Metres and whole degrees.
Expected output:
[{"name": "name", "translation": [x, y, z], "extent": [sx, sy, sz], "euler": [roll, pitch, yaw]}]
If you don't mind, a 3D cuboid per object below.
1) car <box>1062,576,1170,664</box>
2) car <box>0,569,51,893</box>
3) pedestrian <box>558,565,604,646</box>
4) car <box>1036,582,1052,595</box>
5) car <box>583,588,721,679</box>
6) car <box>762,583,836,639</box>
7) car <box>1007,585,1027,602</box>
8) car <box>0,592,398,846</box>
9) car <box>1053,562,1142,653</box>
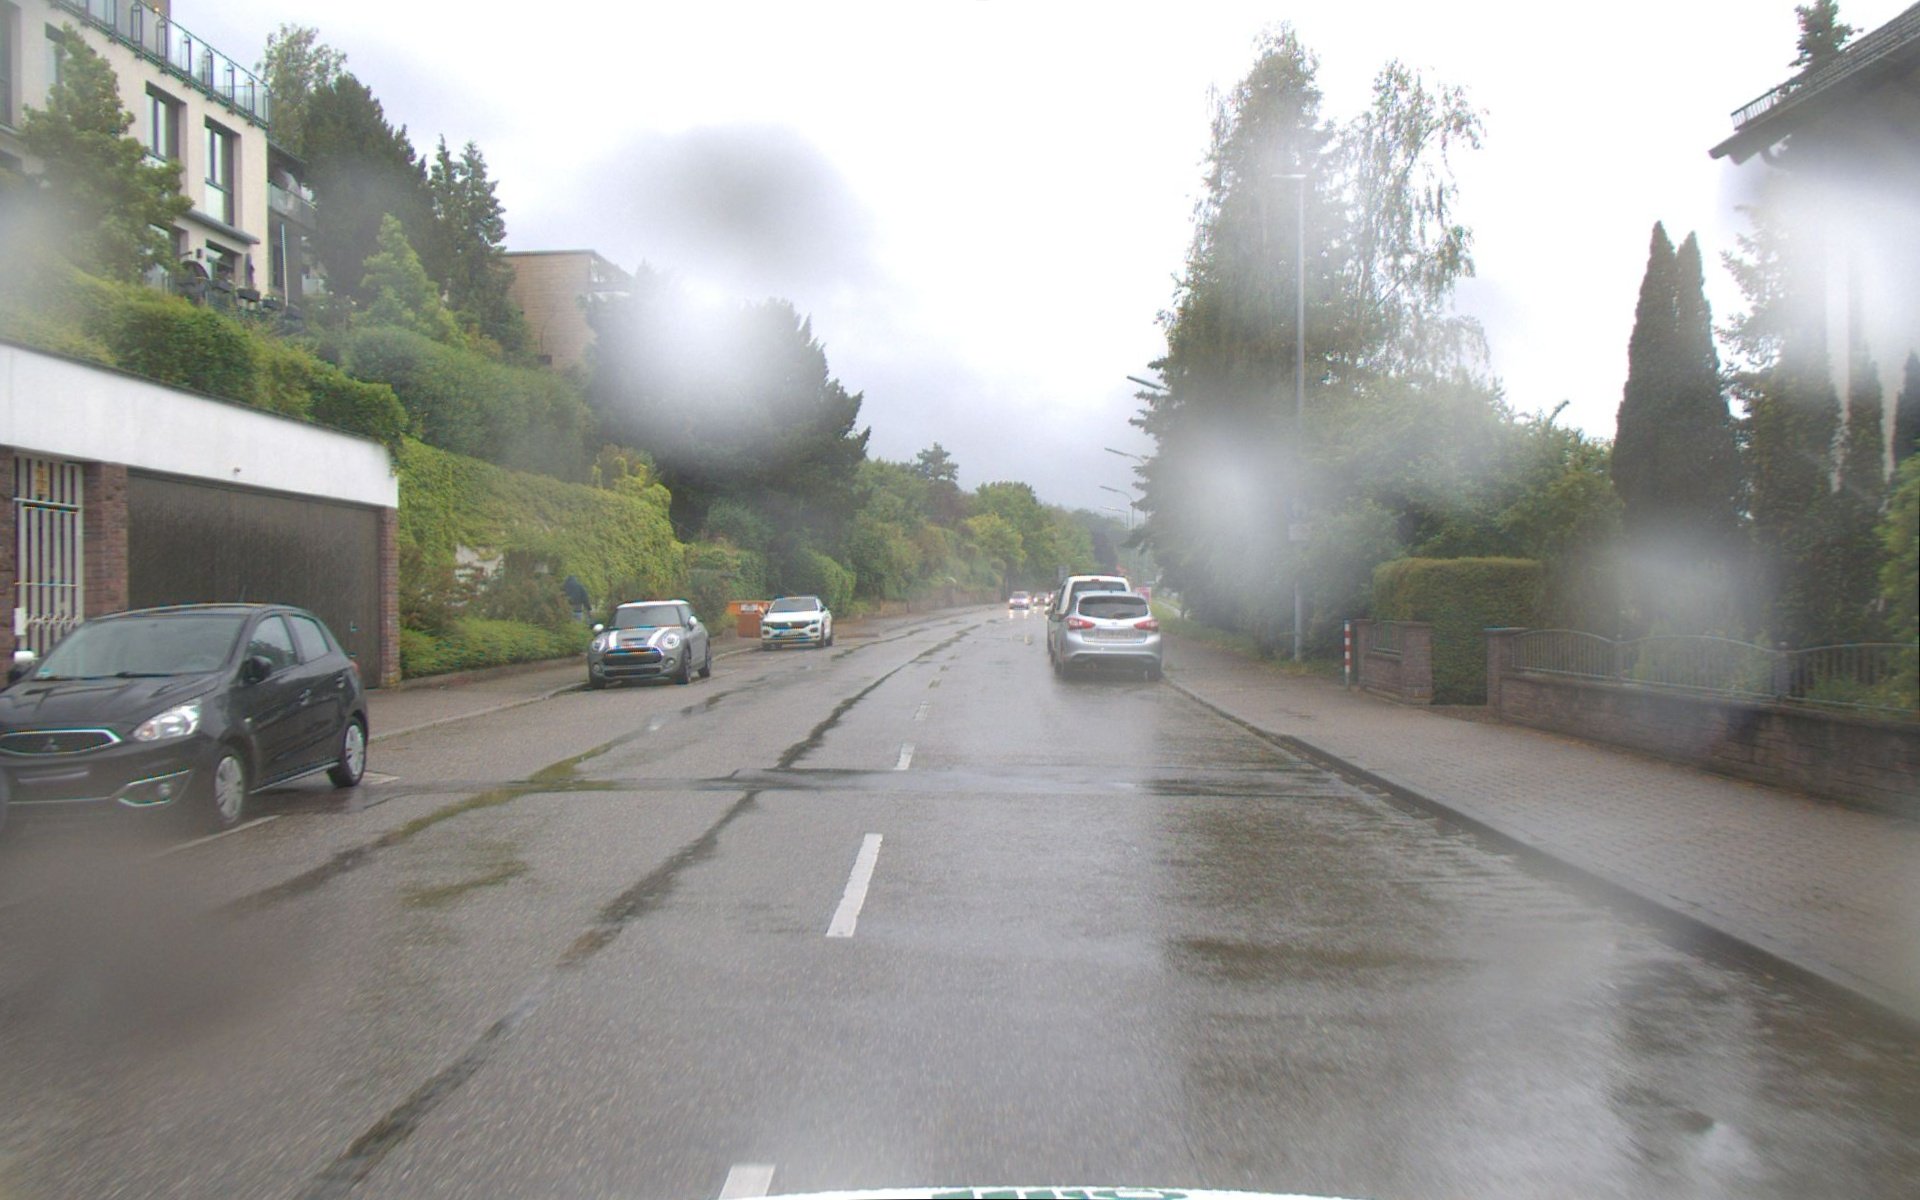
[{"name": "car", "translation": [2.741, 0.330, 29.892], "extent": [1.752, 1.485, 4.310], "euler": [0, 0, 3]}, {"name": "car", "translation": [-5.503, 0.701, 6.521], "extent": [1.720, 1.566, 3.756], "euler": [-3, 1, -1]}, {"name": "pedestrian", "translation": [-9.126, 0.126, 39.835], "extent": [0.824, 1.913, 0.902], "euler": [1, 0, 4]}, {"name": "car", "translation": [8.646, -1.166, 170.510], "extent": [1.620, 1.375, 3.989], "euler": [0, 0, 3]}, {"name": "car", "translation": [-5.380, 0.545, 29.324], "extent": [1.720, 1.427, 3.769], "euler": [-3, 0, -1]}, {"name": "car", "translation": [-4.674, 0.318, 48.514], "extent": [1.720, 1.524, 4.220], "euler": [-1, 0, 0]}, {"name": "car", "translation": [4.925, -0.569, 142.473], "extent": [1.628, 1.486, 3.662], "euler": [0, 0, 1]}, {"name": "car", "translation": [-5.551, 0.727, 11.893], "extent": [1.720, 1.433, 3.704], "euler": [-3, 1, -1]}, {"name": "car", "translation": [2.890, 0.145, 35.533], "extent": [1.747, 1.822, 4.362], "euler": [0, 0, 3]}]
